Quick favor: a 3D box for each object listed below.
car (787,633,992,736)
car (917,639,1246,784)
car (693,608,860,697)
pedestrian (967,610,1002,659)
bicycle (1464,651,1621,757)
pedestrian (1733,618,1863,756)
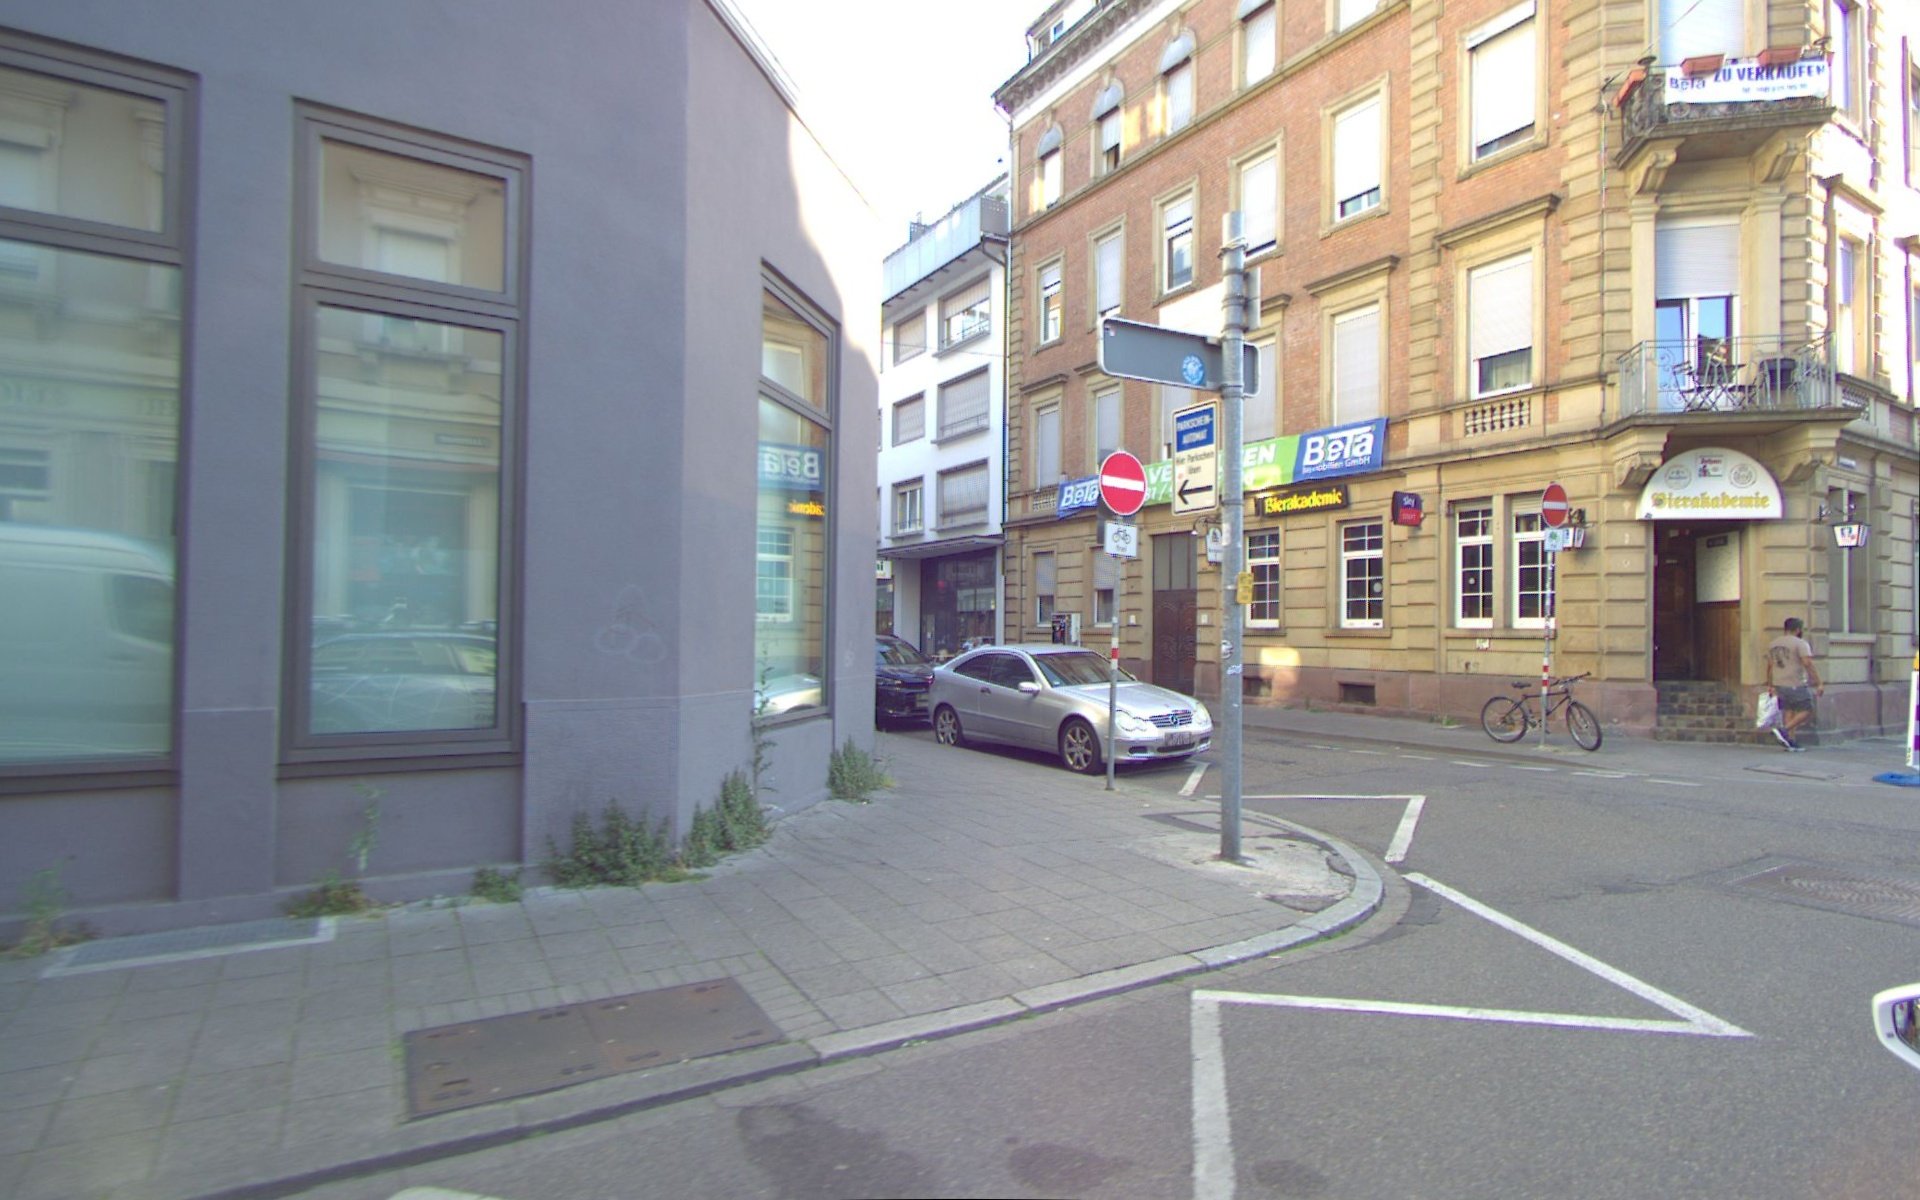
[{"bbox_3d":[-1.357,1.370,17.576,1.991,1.544,4.084,2,-2,-30],"label":"car"},{"bbox_3d":[1.309,1.241,12.739,1.737,1.420,4.449,0,-1,-33],"label":"car"},{"bbox_3d":[-4.224,1.124,22.508,2.310,1.767,4.451,2,-2,-30],"label":"car"},{"bbox_3d":[0.692,0.980,28.672,0.823,1.357,0.804,1,-1,-11],"label":"pedestrian"},{"bbox_3d":[8.024,1.396,13.910,0.654,1.292,1.746,-2,0,-34],"label":"bicycle"},{"bbox_3d":[11.281,1.135,13.565,0.996,1.765,0.985,1,-1,12],"label":"pedestrian"}]
